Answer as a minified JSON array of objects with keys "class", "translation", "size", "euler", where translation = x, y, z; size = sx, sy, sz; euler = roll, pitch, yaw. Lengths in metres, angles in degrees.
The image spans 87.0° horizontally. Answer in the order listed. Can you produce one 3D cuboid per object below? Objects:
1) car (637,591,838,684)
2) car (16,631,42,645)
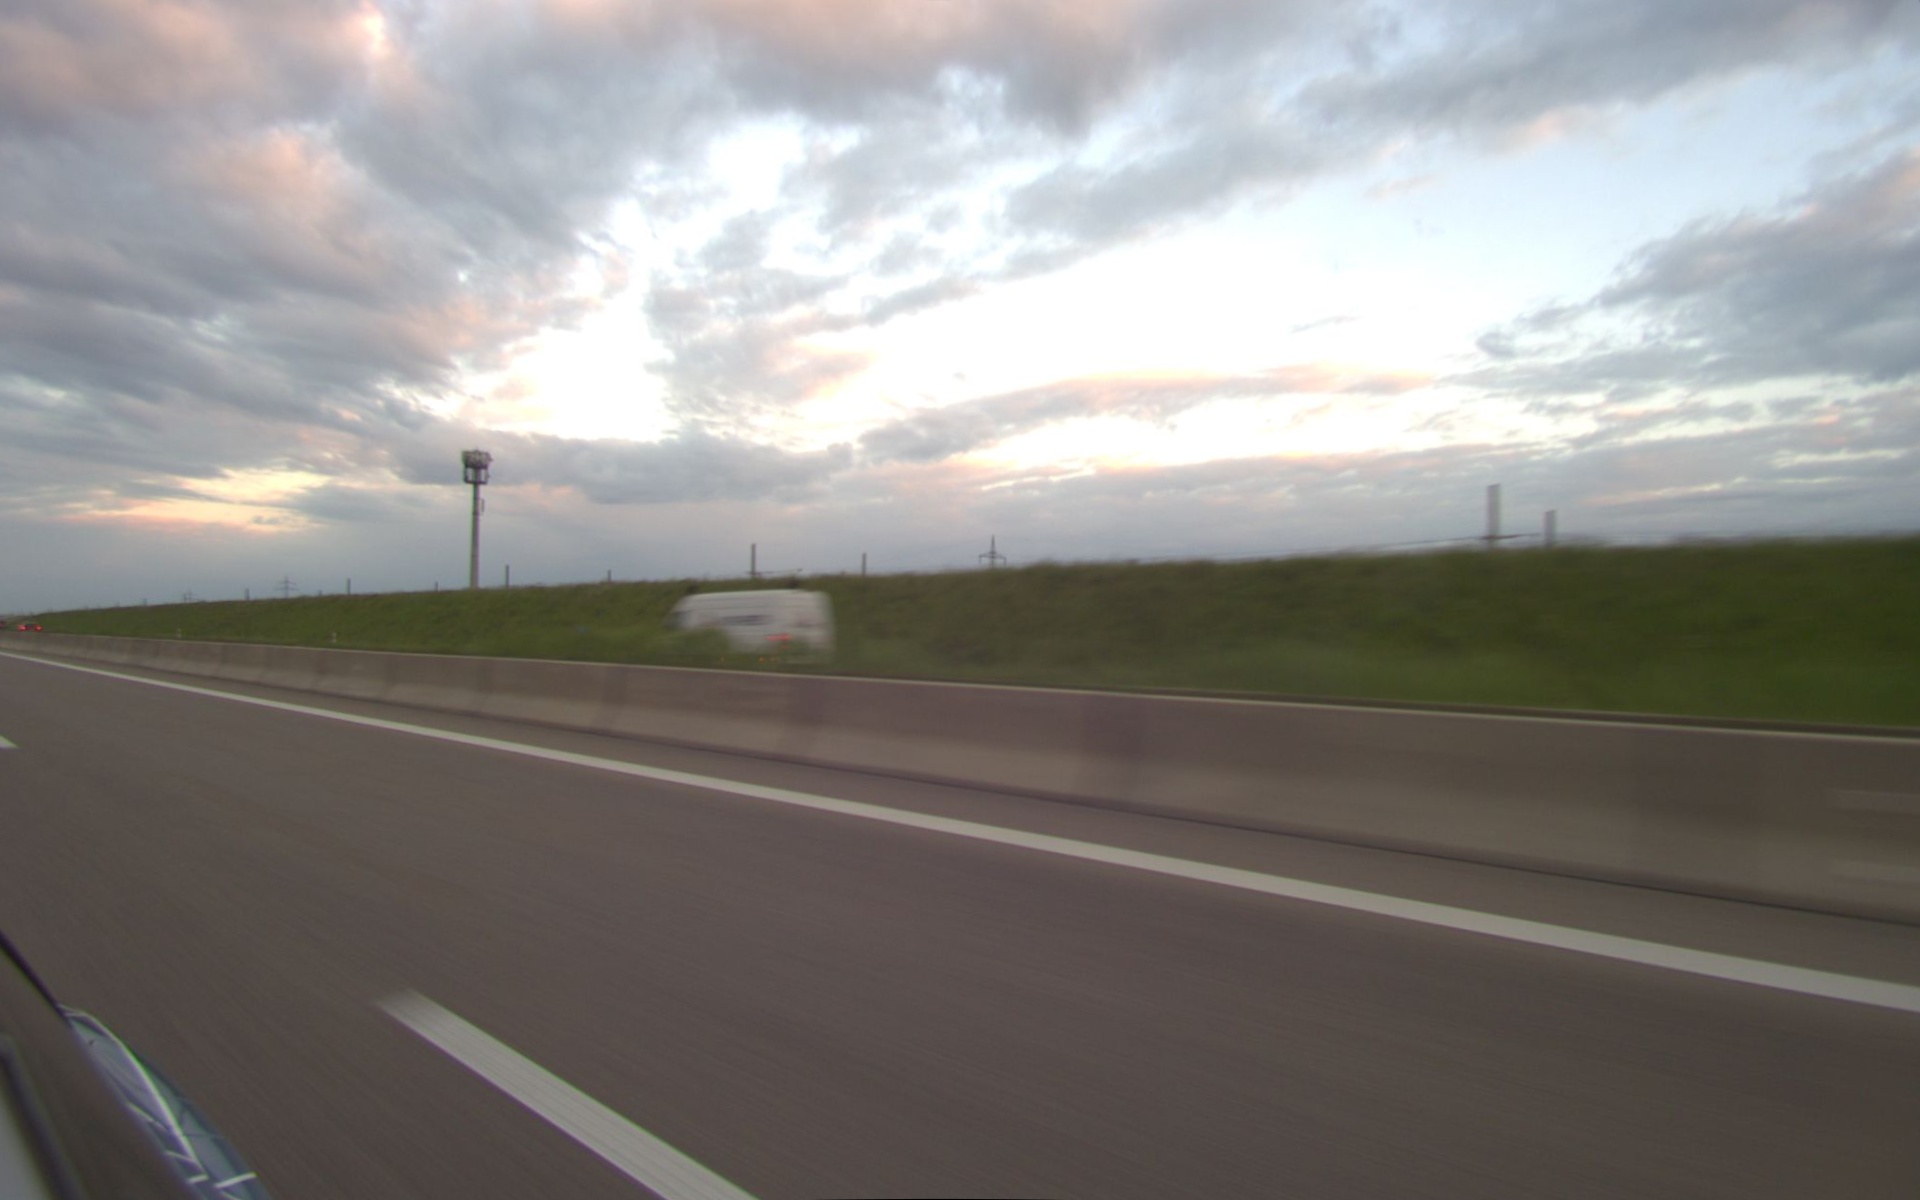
[{"class":"car","translation":[-6.960,1.123,30.945],"size":[7.373,2.566,1.973],"euler":[-1,-3,41]},{"class":"car","translation":[-107.739,4.430,117.086],"size":[4.105,1.604,1.833],"euler":[-2,-3,42]}]
